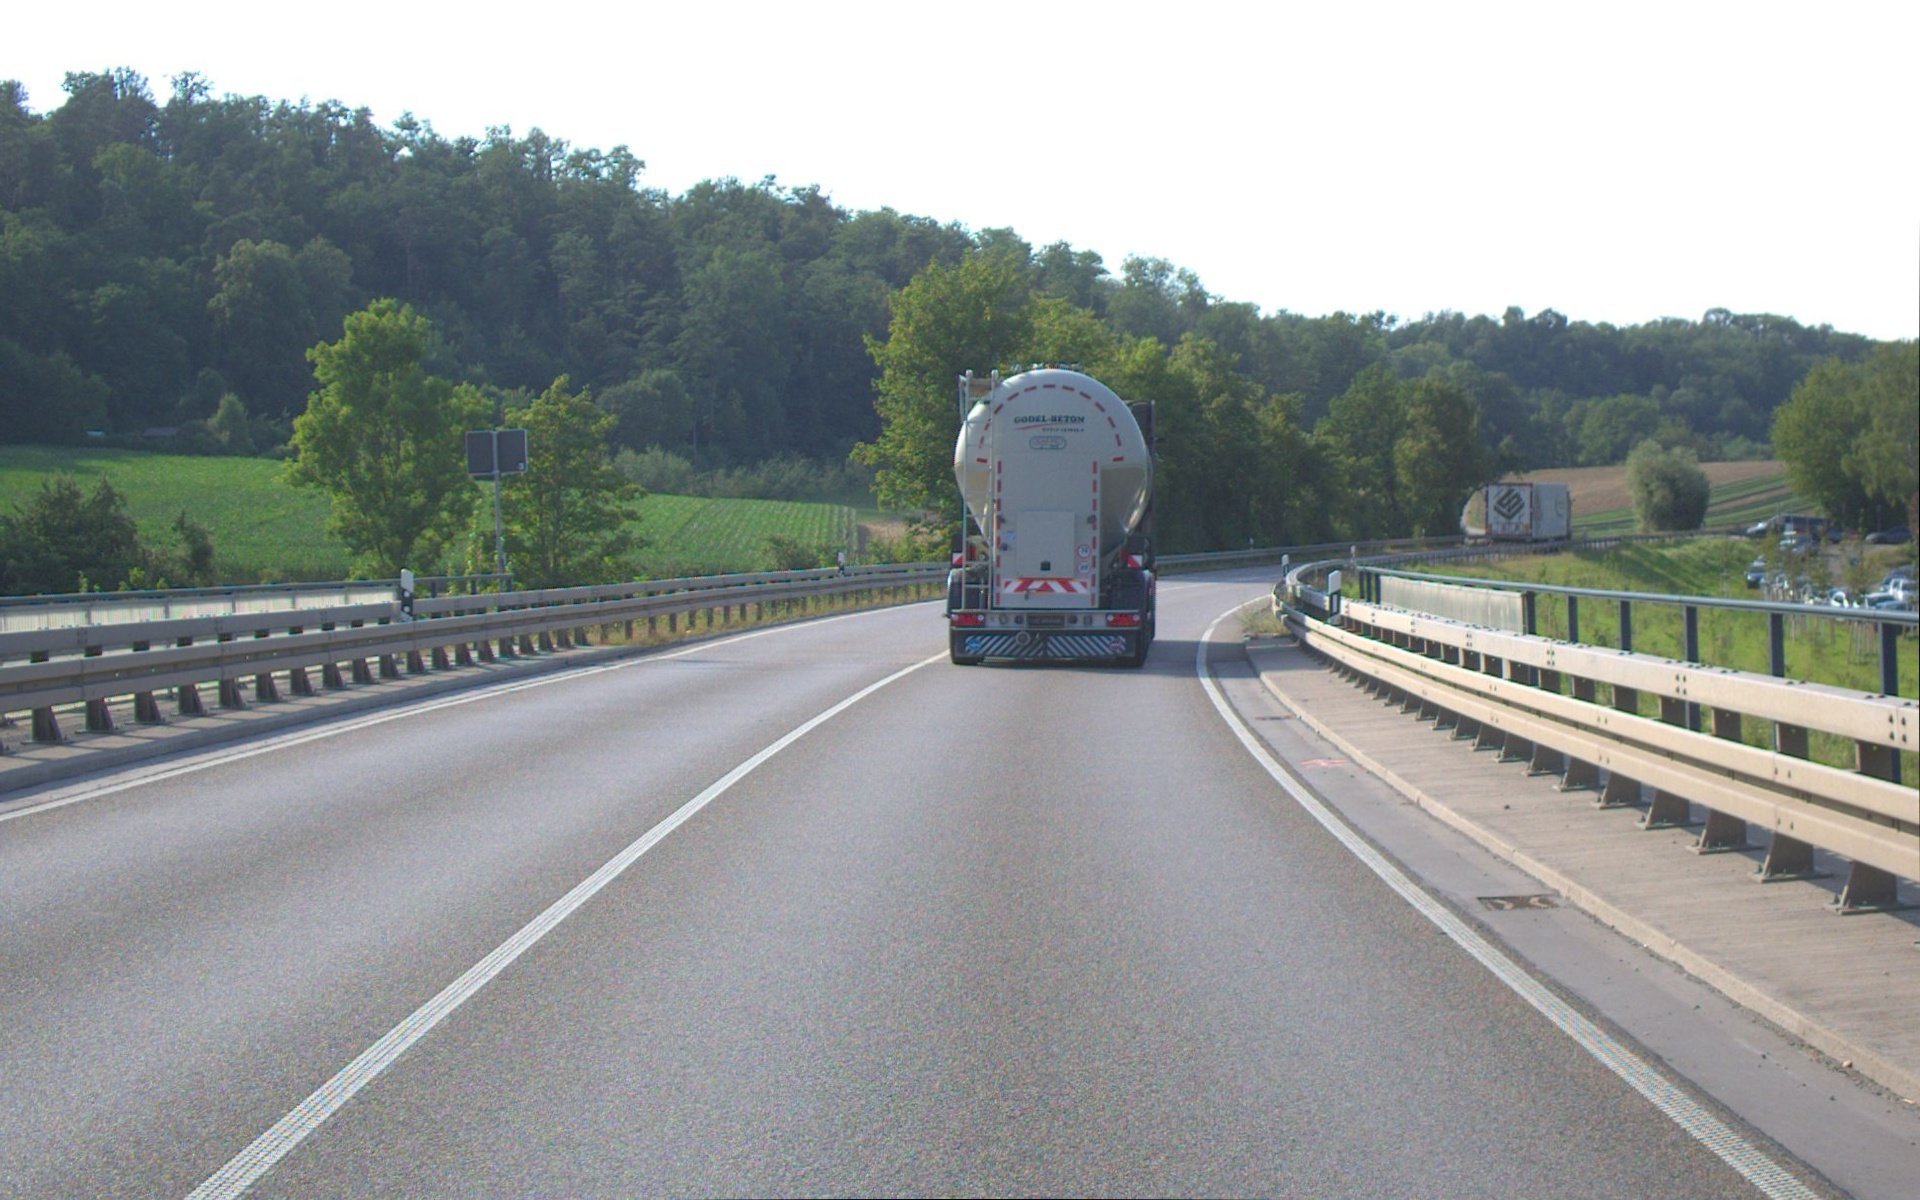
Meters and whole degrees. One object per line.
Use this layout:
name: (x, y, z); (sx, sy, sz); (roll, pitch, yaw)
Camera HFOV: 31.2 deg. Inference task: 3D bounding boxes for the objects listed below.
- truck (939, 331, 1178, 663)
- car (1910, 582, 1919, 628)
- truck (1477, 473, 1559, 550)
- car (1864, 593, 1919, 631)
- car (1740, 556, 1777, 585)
truck: (1.647, -1.392, 49.600); (2.893, 4.128, 13.170); (1, 1, 4)
car: (43.959, 0.245, 152.246); (2.119, 2.011, 5.380); (-4, 2, -1)
truck: (32.257, -5.165, 198.209); (3.186, 4.213, 13.164); (0, 2, 16)
car: (43.867, 0.551, 160.672); (1.892, 1.477, 4.783); (-4, 2, -1)
car: (50.769, -1.887, 218.576); (1.893, 1.554, 4.779); (-3, 3, 18)
